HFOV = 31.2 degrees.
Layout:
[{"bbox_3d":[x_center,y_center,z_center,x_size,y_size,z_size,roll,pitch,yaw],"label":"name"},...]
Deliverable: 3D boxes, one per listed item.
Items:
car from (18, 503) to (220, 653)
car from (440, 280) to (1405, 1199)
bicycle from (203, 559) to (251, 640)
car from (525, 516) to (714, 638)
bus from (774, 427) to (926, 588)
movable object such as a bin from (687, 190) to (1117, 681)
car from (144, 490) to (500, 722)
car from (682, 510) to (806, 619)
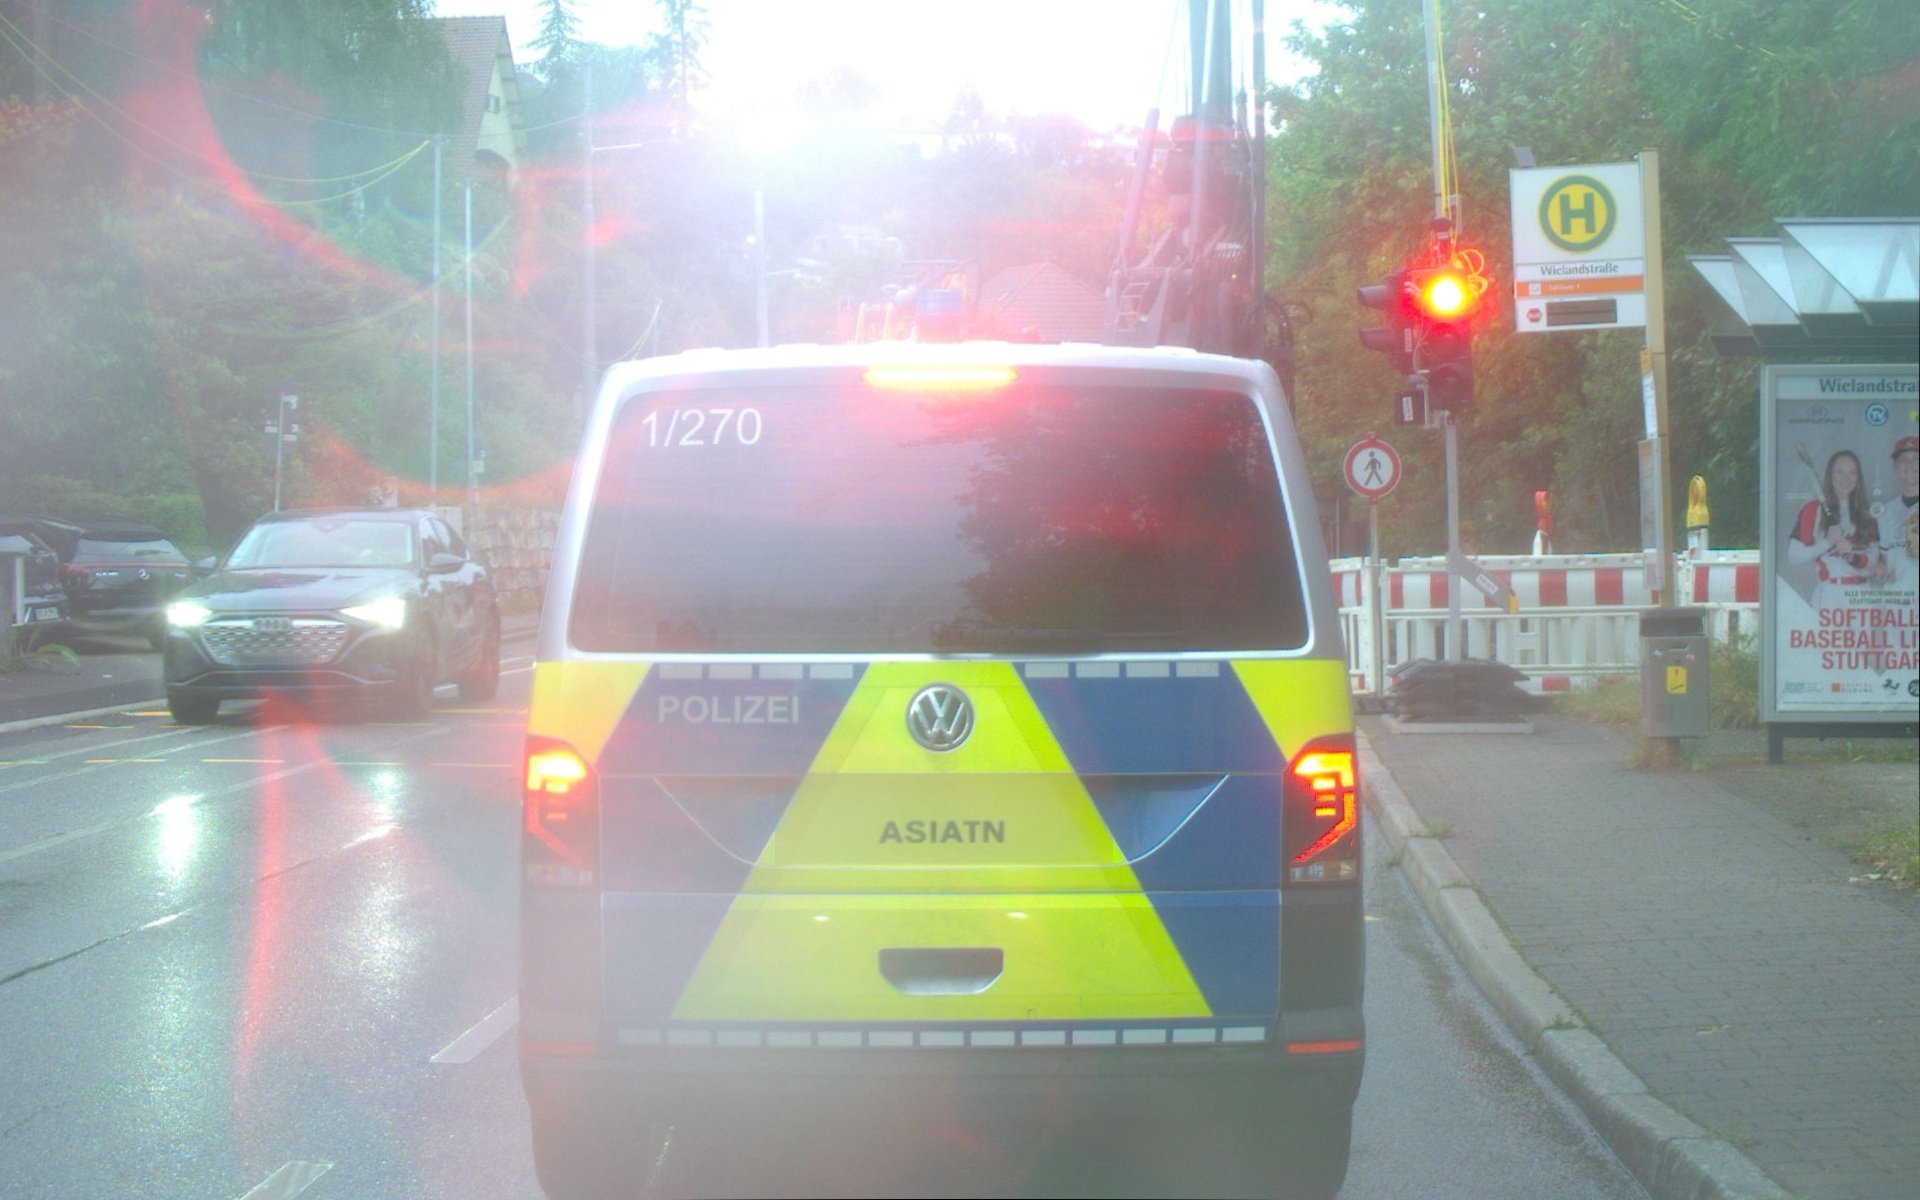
[{"bbox_3d":[-9.331,-0.278,37.975,1.765,1.481,3.743,1,3,-20],"label":"car"},{"bbox_3d":[-0.099,0.359,8.833,1.893,2.043,4.000,1,1,-1],"label":"car"},{"bbox_3d":[-8.450,-0.018,39.592,0.462,0.894,1.634,0,1,-15],"label":"bicycle"},{"bbox_3d":[-4.299,-0.327,43.914,1.764,1.458,3.886,1,1,4],"label":"car"},{"bbox_3d":[-2.621,-2.267,85.905,2.841,3.705,12.005,1,1,3],"label":"bus"},{"bbox_3d":[-0.428,-1.458,31.632,2.832,4.163,4.378,1,1,15],"label":"movable object such as a bin"},{"bbox_3d":[-4.975,0.006,27.471,1.993,1.668,4.688,-1,1,-1],"label":"car"},{"bbox_3d":[-3.629,-0.613,57.746,1.979,1.742,4.554,1,1,-3],"label":"car"}]
